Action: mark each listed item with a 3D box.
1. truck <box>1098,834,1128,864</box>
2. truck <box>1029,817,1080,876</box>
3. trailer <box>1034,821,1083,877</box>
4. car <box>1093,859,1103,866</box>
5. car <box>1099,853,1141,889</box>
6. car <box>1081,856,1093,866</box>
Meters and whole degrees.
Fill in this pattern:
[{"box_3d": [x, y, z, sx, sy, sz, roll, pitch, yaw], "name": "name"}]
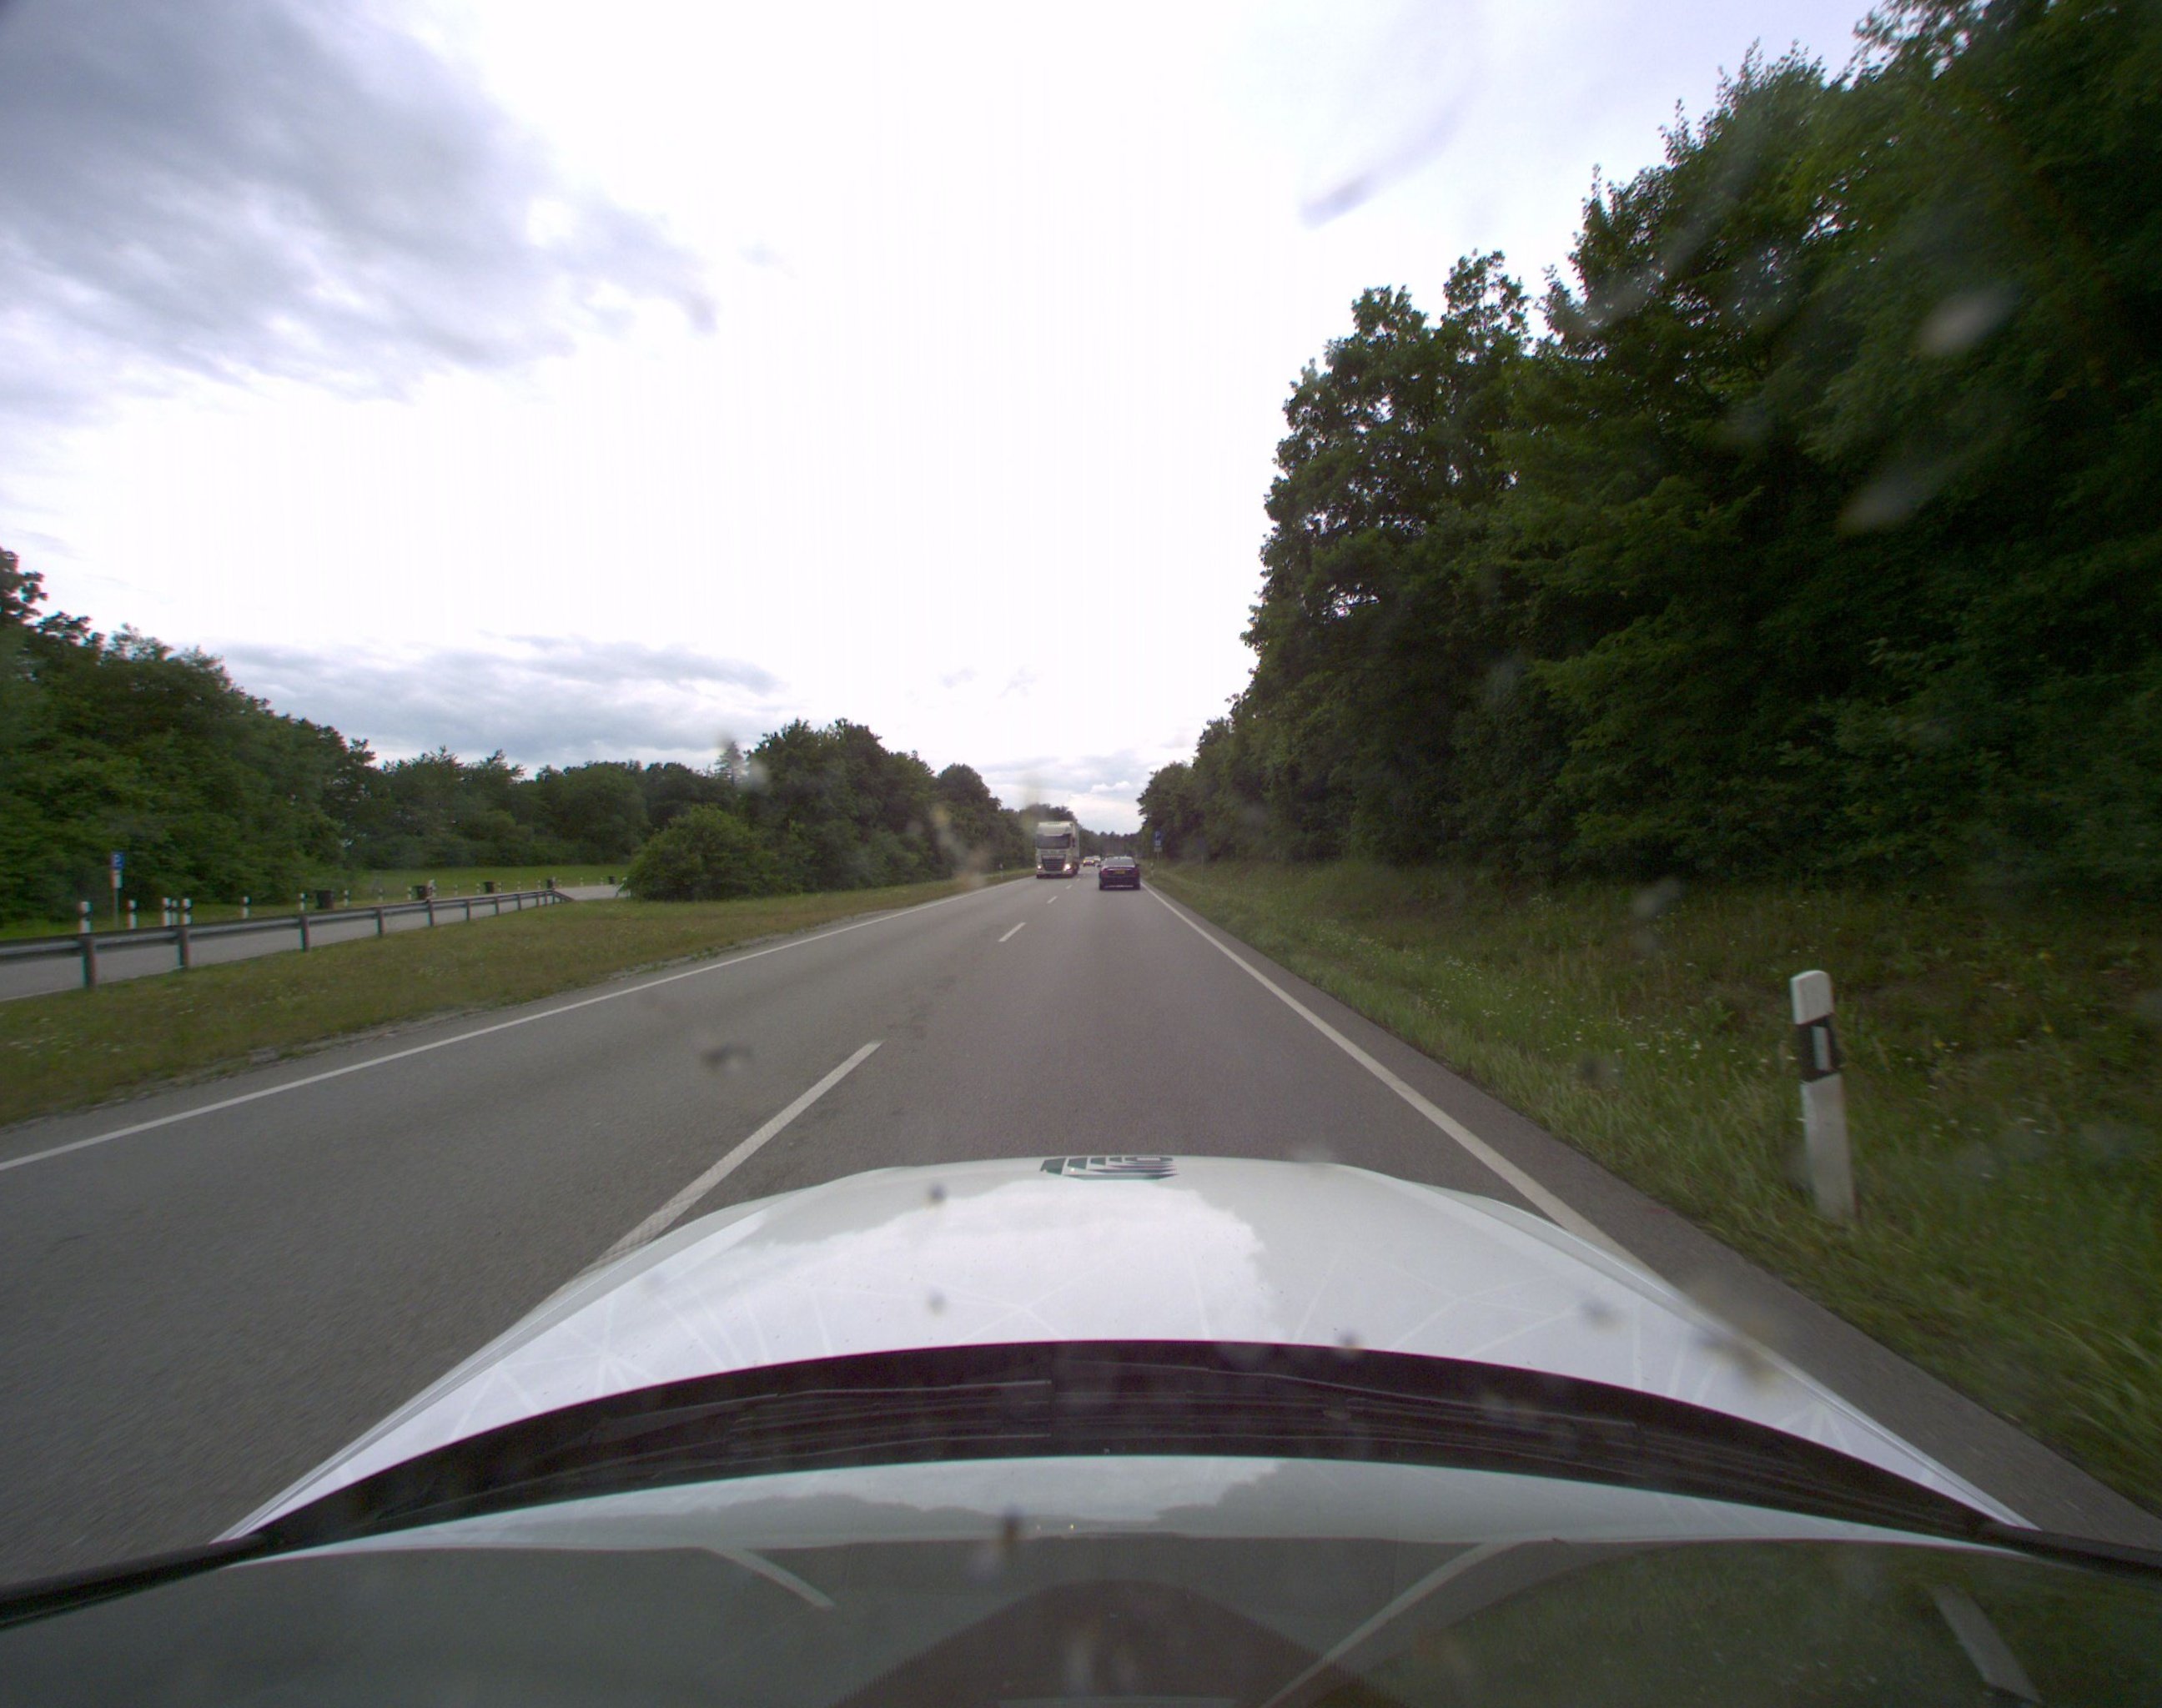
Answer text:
[{"box_3d": [4.171, -0.560, 103.544, 3.266, 3.611, 11.414, 0, 0, 5], "name": "truck"}, {"box_3d": [-1.821, -0.486, 61.050, 3.177, 4.062, 9.579, 0, 0, 2], "name": "truck"}, {"box_3d": [-1.599, -0.319, 66.748, 3.191, 4.067, 14.276, 0, 0, 2], "name": "trailer"}, {"box_3d": [3.472, 1.737, 169.498, 1.956, 1.574, 5.455, 0, 0, 2], "name": "car"}, {"box_3d": [1.716, 0.744, 37.298, 1.785, 1.552, 4.000, 0, 0, 1], "name": "car"}, {"box_3d": [0.896, 1.099, 124.134, 1.719, 1.434, 4.505, 0, 0, 2], "name": "car"}]
